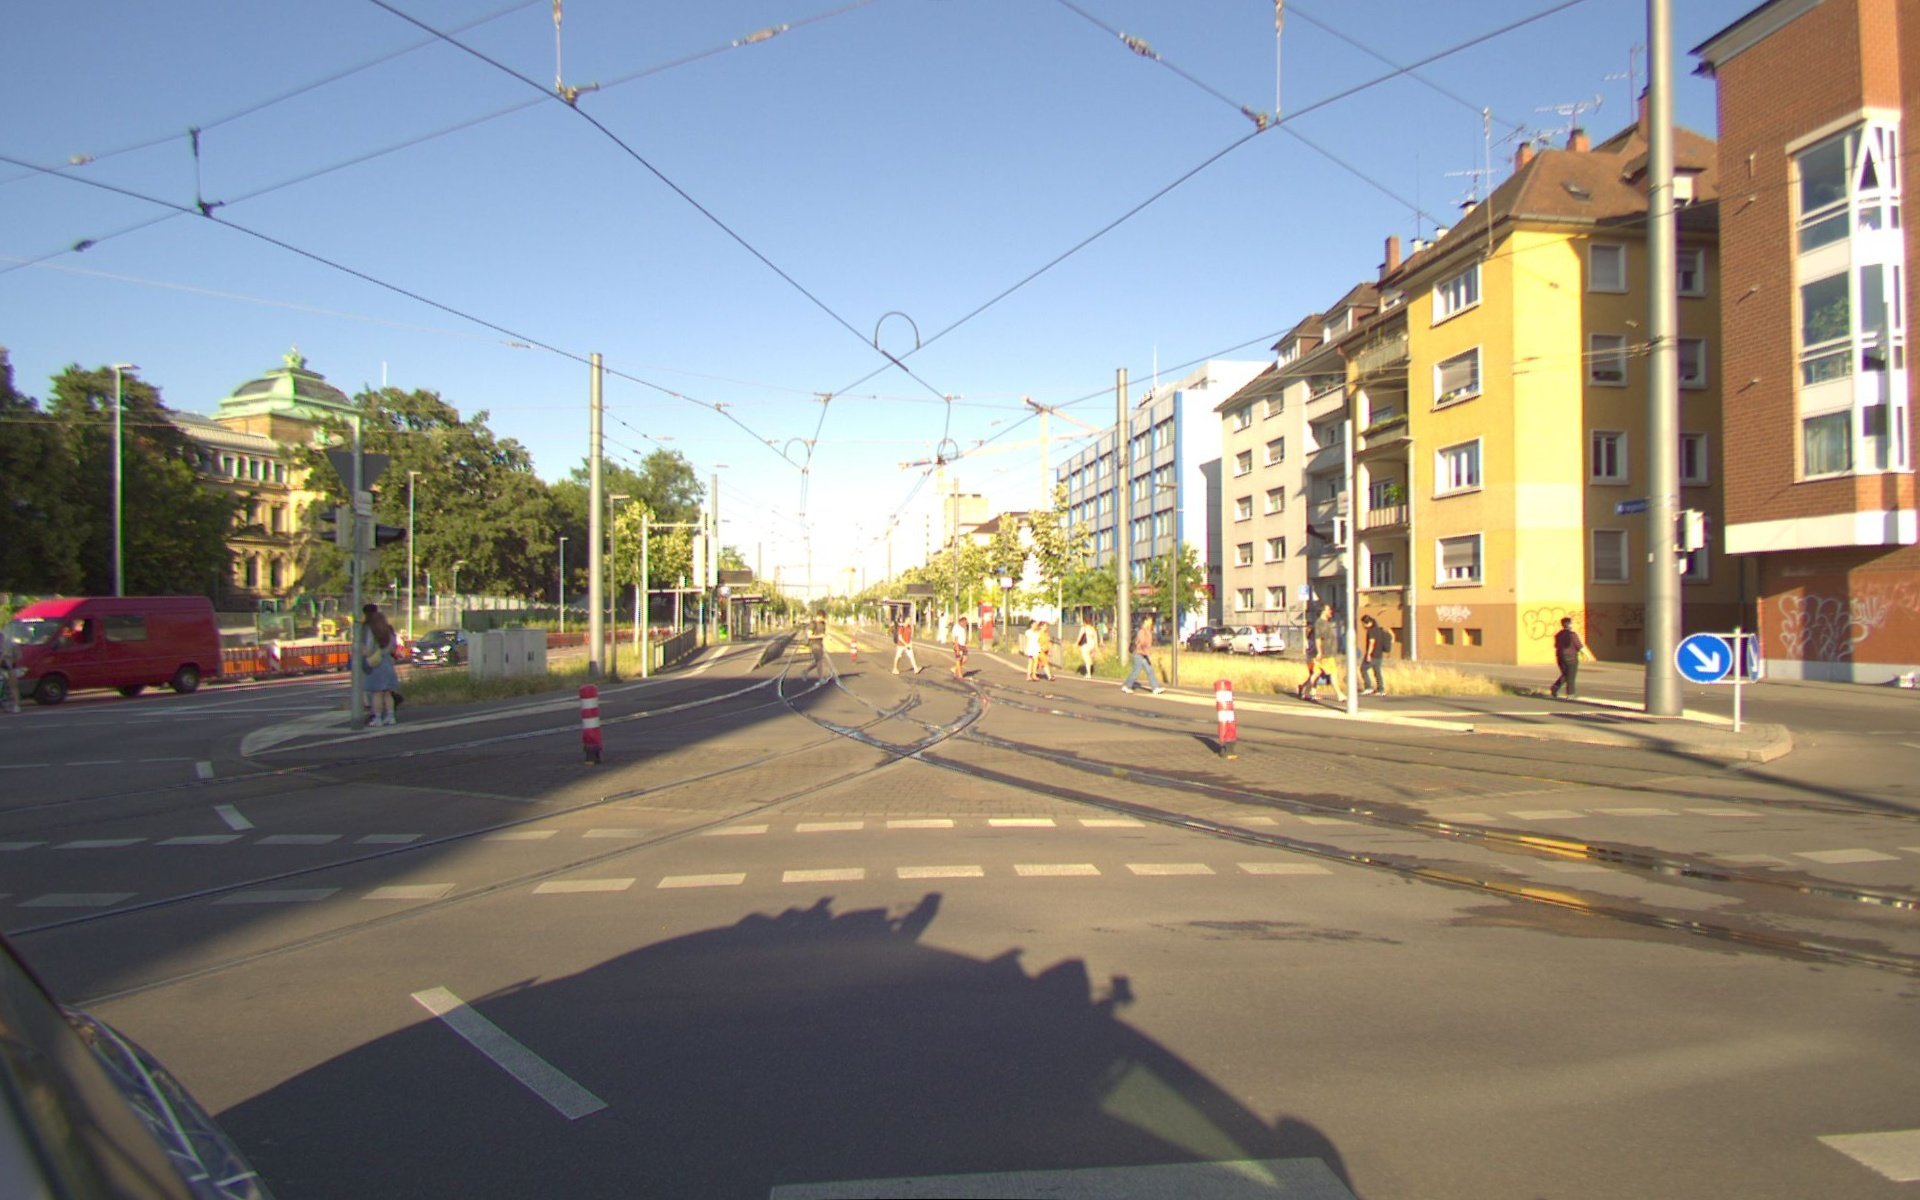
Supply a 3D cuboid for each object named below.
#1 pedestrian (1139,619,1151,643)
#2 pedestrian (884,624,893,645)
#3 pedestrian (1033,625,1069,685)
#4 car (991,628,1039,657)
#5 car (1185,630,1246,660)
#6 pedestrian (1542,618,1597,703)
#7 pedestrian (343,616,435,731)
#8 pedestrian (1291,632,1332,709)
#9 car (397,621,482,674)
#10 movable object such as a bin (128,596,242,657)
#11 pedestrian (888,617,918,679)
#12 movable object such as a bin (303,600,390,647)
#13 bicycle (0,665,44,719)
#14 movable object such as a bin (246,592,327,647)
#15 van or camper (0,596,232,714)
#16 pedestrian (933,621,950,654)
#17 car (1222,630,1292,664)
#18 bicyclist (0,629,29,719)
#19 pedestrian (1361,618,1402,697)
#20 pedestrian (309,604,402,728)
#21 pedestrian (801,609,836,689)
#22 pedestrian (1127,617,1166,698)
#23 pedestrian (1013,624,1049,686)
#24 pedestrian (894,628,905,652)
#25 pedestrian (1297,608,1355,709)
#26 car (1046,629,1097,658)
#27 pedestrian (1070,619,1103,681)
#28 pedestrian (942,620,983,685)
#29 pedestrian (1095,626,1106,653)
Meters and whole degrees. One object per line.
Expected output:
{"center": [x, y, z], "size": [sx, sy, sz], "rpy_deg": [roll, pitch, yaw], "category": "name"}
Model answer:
{"center": [13.599, 2.277, 74.463], "size": [0.636, 1.759, 0.599], "rpy_deg": [-2, -1, -2], "category": "pedestrian"}
{"center": [-6.035, 2.905, 85.226], "size": [0.650, 1.705, 0.772], "rpy_deg": [-2, -1, -3], "category": "pedestrian"}
{"center": [2.224, 1.340, 24.775], "size": [0.628, 1.443, 0.526], "rpy_deg": [-1, -1, -37], "category": "pedestrian"}
{"center": [3.090, 2.378, 57.287], "size": [1.857, 1.519, 3.950], "rpy_deg": [-2, -1, -9], "category": "car"}
{"center": [13.874, 2.432, 55.165], "size": [1.857, 1.519, 3.681], "rpy_deg": [-2, -1, -9], "category": "car"}
{"center": [11.850, 1.166, 19.688], "size": [0.784, 1.600, 0.603], "rpy_deg": [-2, -1, 25], "category": "pedestrian"}
{"center": [-8.550, 1.081, 15.169], "size": [0.783, 1.653, 0.892], "rpy_deg": [-2, -1, 25], "category": "pedestrian"}
{"center": [6.578, 1.305, 18.929], "size": [0.604, 1.370, 0.592], "rpy_deg": [-4, -2, 22], "category": "pedestrian"}
{"center": [-21.291, 1.901, 41.553], "size": [1.968, 2.029, 4.008], "rpy_deg": [-2, -1, -10], "category": "car"}
{"center": [-37.285, 1.267, 48.890], "size": [1.970, 2.704, 5.018], "rpy_deg": [-2, -1, -5], "category": "movable object such as a bin"}
{"center": [-1.646, 1.369, 29.044], "size": [0.776, 1.711, 0.620], "rpy_deg": [-2, -1, -6], "category": "pedestrian"}
{"center": [-39.941, 1.526, 66.084], "size": [1.972, 2.837, 5.864], "rpy_deg": [-2, -1, 1], "category": "movable object such as a bin"}
{"center": [-19.315, 1.859, 20.373], "size": [0.534, 1.009, 1.698], "rpy_deg": [-2, -1, -14], "category": "bicycle"}
{"center": [-43.652, 1.265, 65.733], "size": [1.970, 3.355, 5.380], "rpy_deg": [-2, -1, -5], "category": "movable object such as a bin"}
{"center": [-21.261, 1.262, 24.909], "size": [1.976, 2.548, 5.902], "rpy_deg": [-2, -1, 6], "category": "van or camper"}
{"center": [-0.956, 1.949, 52.692], "size": [0.776, 1.685, 0.620], "rpy_deg": [-2, -1, -6], "category": "pedestrian"}
{"center": [14.716, 2.317, 50.365], "size": [1.857, 1.519, 3.681], "rpy_deg": [-2, -1, -9], "category": "car"}
{"center": [-19.258, 1.476, 20.236], "size": [0.605, 1.759, 0.794], "rpy_deg": [-2, -1, -14], "category": "bicyclist"}
{"center": [8.832, 1.188, 21.187], "size": [0.680, 1.596, 0.834], "rpy_deg": [-2, -1, 26], "category": "pedestrian"}
{"center": [-9.259, 0.992, 15.517], "size": [0.783, 1.815, 0.892], "rpy_deg": [-4, -2, 25], "category": "pedestrian"}
{"center": [-3.422, 1.176, 24.472], "size": [0.776, 1.878, 0.620], "rpy_deg": [-2, -1, -6], "category": "pedestrian"}
{"center": [3.695, 1.131, 20.013], "size": [0.614, 1.547, 0.783], "rpy_deg": [-2, -1, 19], "category": "pedestrian"}
{"center": [1.703, 1.316, 24.380], "size": [0.628, 1.467, 0.526], "rpy_deg": [-1, -2, -38], "category": "pedestrian"}
{"center": [-4.511, 2.952, 75.206], "size": [0.649, 1.705, 0.774], "rpy_deg": [-2, -1, -11], "category": "pedestrian"}
{"center": [6.592, 1.049, 18.251], "size": [0.893, 1.771, 0.771], "rpy_deg": [-2, -1, 19], "category": "pedestrian"}
{"center": [6.352, 2.454, 57.969], "size": [1.857, 1.519, 3.950], "rpy_deg": [-2, -1, -9], "category": "car"}
{"center": [3.323, 1.301, 26.573], "size": [0.678, 1.596, 0.837], "rpy_deg": [-2, -1, 18], "category": "pedestrian"}
{"center": [0.064, 1.369, 26.073], "size": [0.775, 1.560, 0.621], "rpy_deg": [9, -11, -37], "category": "pedestrian"}
{"center": [9.801, 2.767, 70.418], "size": [0.554, 1.861, 0.723], "rpy_deg": [-2, -1, -2], "category": "pedestrian"}
